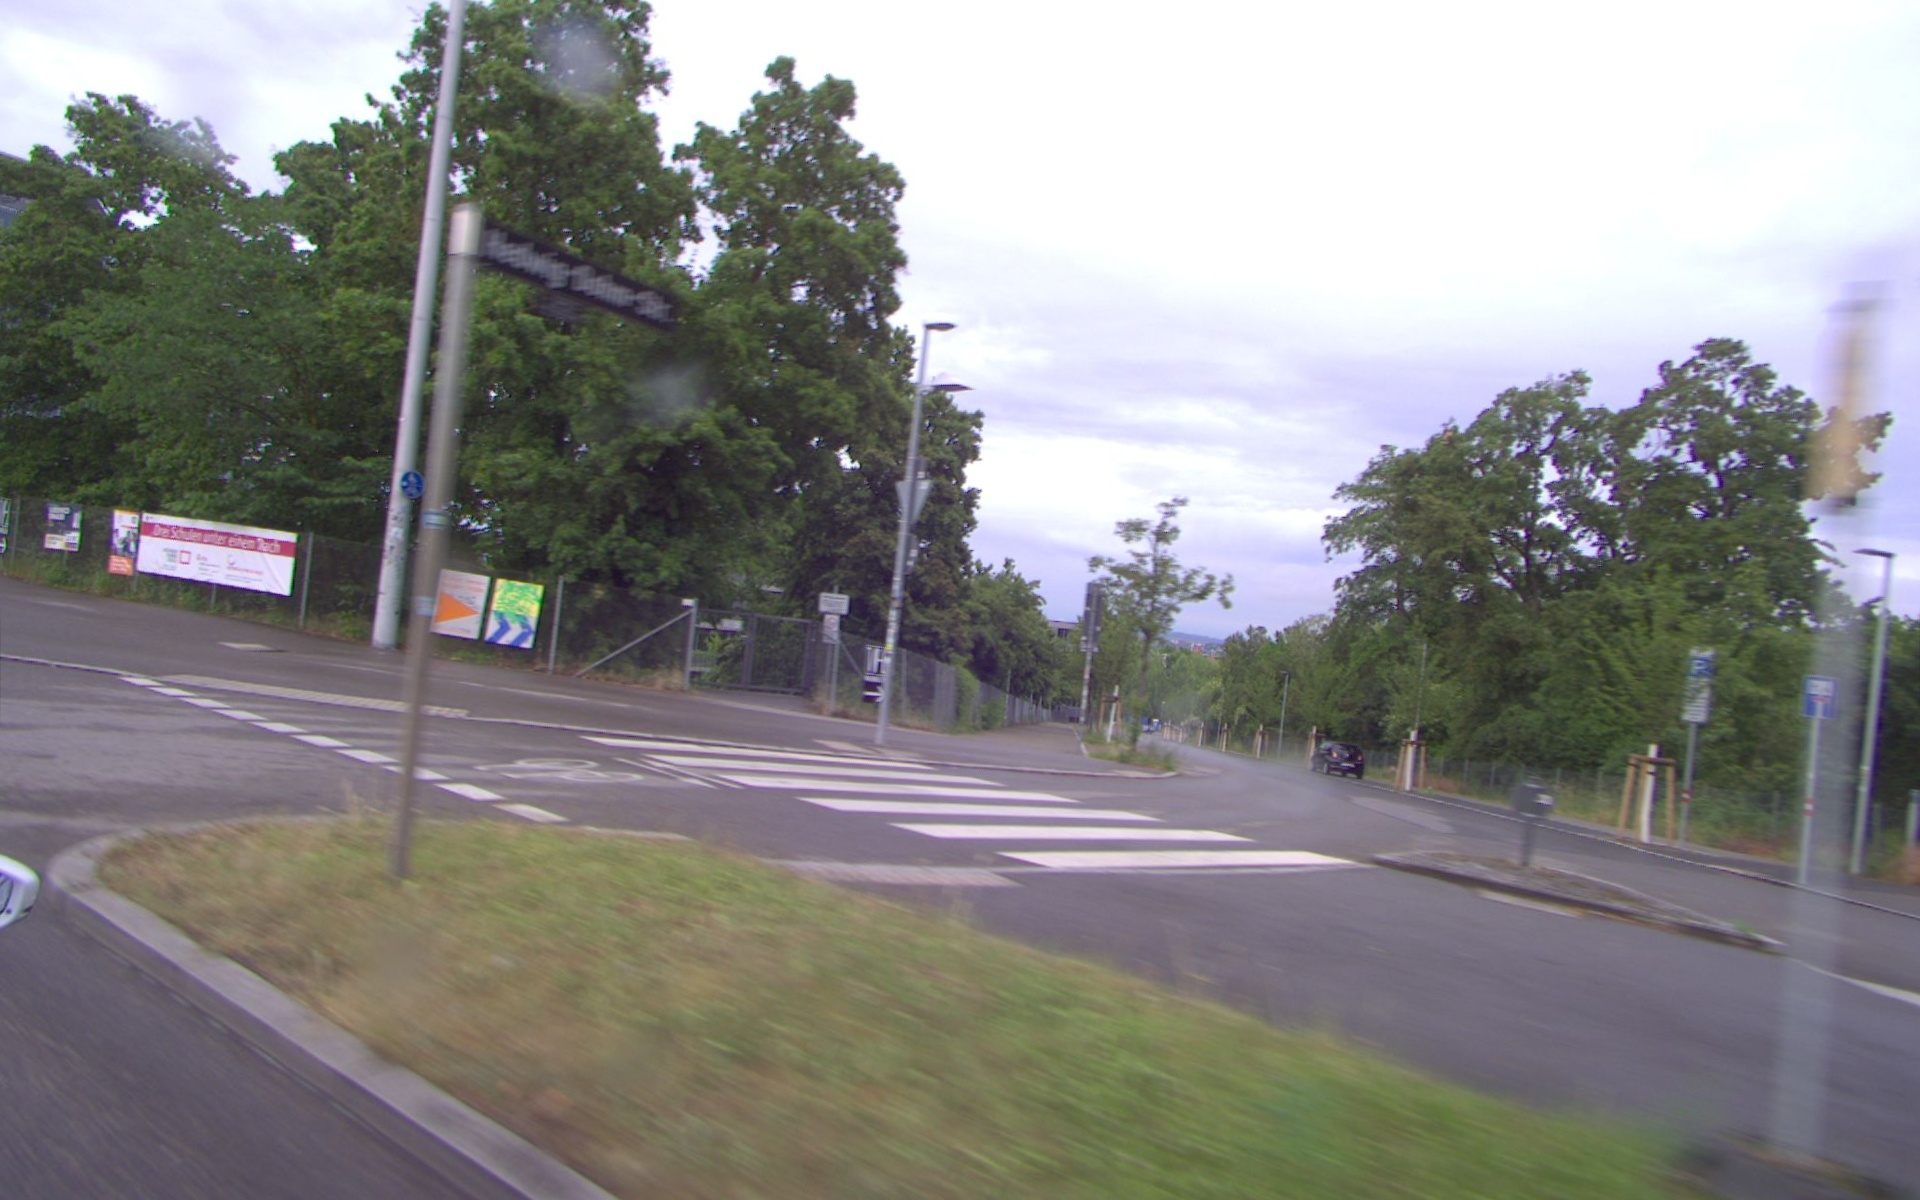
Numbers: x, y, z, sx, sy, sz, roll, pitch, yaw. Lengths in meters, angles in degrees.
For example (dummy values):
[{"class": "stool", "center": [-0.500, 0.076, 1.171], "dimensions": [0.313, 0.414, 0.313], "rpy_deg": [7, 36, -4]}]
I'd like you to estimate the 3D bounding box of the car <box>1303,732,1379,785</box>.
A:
[{"class": "car", "center": [16.876, 7.007, 44.765], "dimensions": [1.962, 1.801, 4.094], "rpy_deg": [8, -4, 6]}]
